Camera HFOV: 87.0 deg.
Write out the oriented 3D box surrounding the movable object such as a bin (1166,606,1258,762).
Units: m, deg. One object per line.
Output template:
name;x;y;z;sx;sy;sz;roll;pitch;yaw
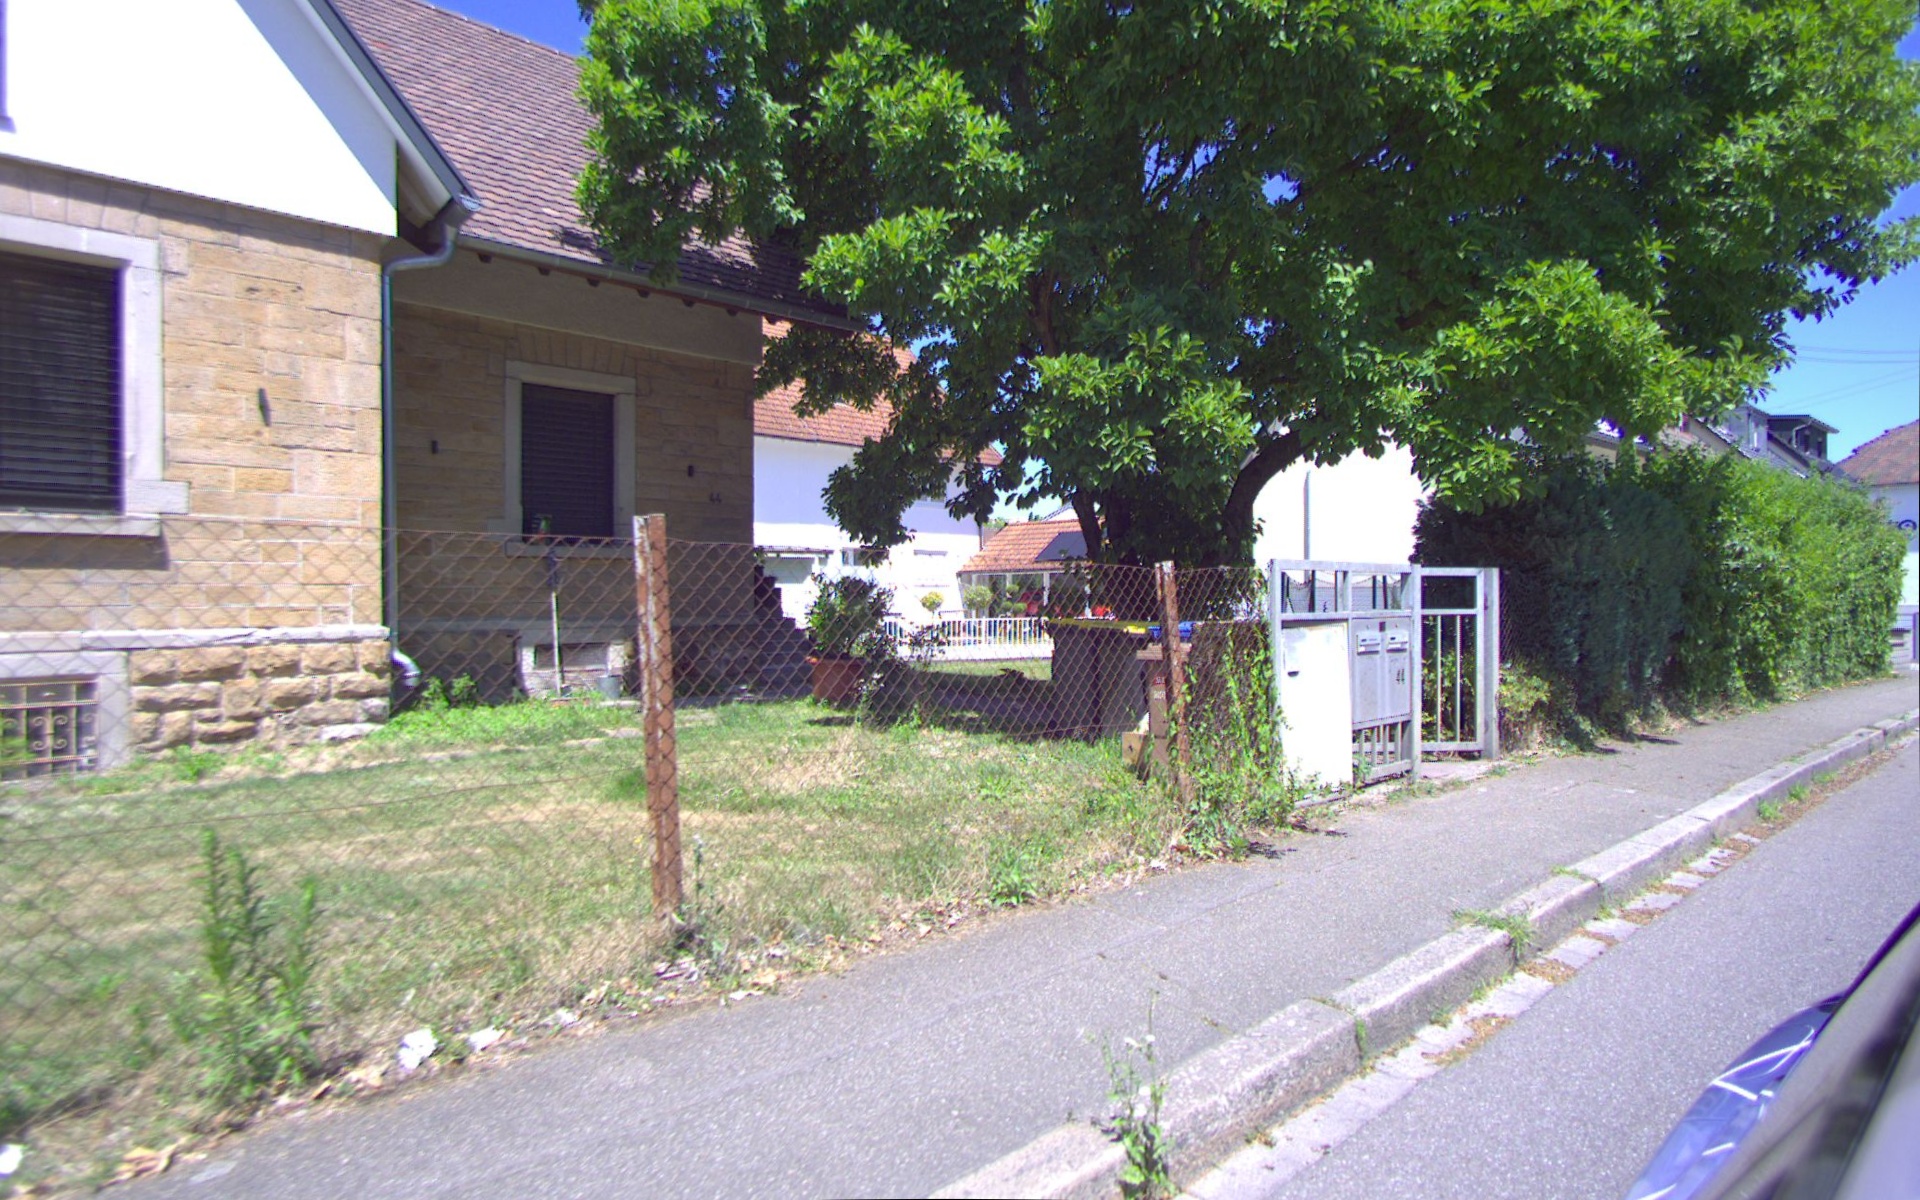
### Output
movable object such as a bin;1.854;0.594;7.445;0.536;1.077;0.400;0;1;-39
